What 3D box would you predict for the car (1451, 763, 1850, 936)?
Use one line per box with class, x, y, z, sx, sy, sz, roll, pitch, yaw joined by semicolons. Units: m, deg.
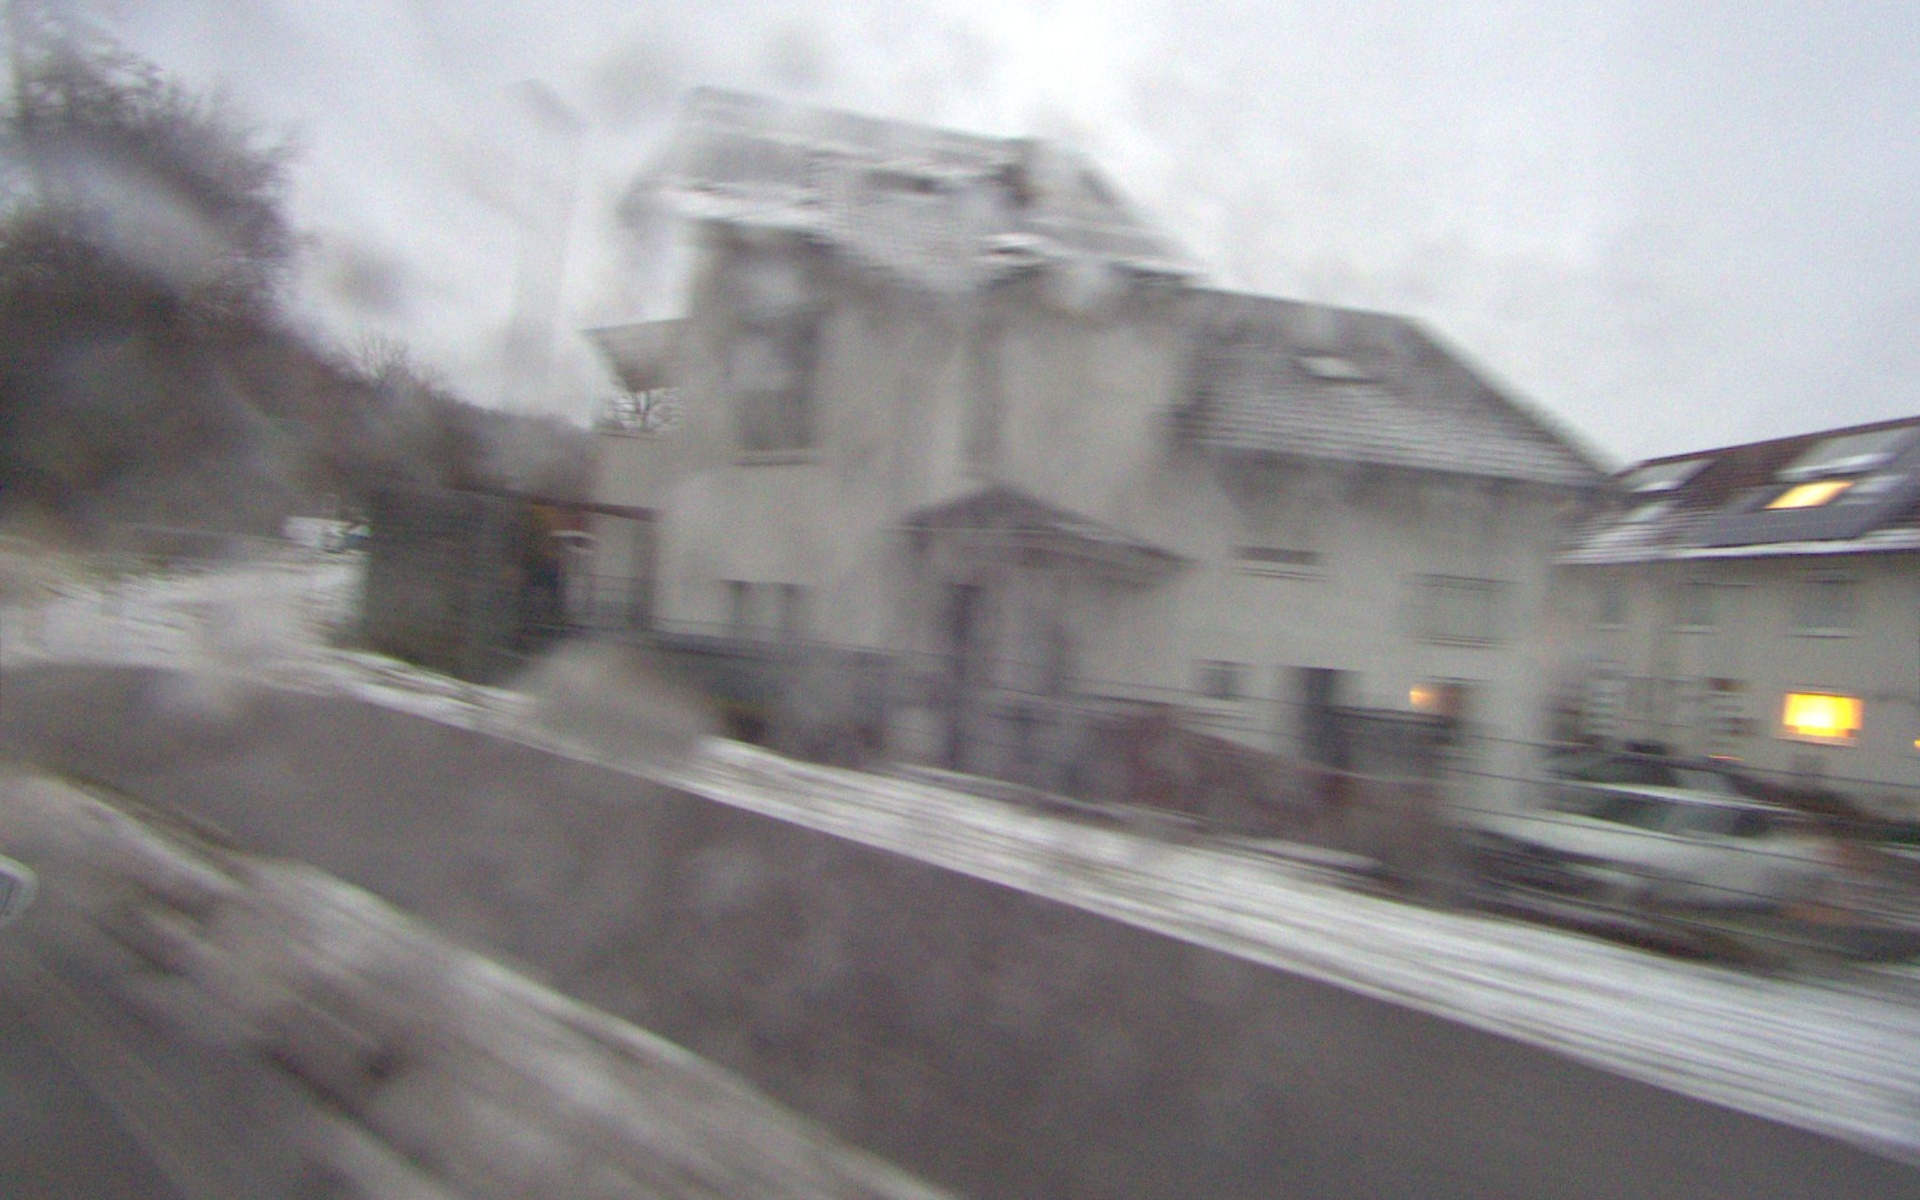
car;8.826;3.135;12.815;4.849;1.506;1.940;8;0;-26
